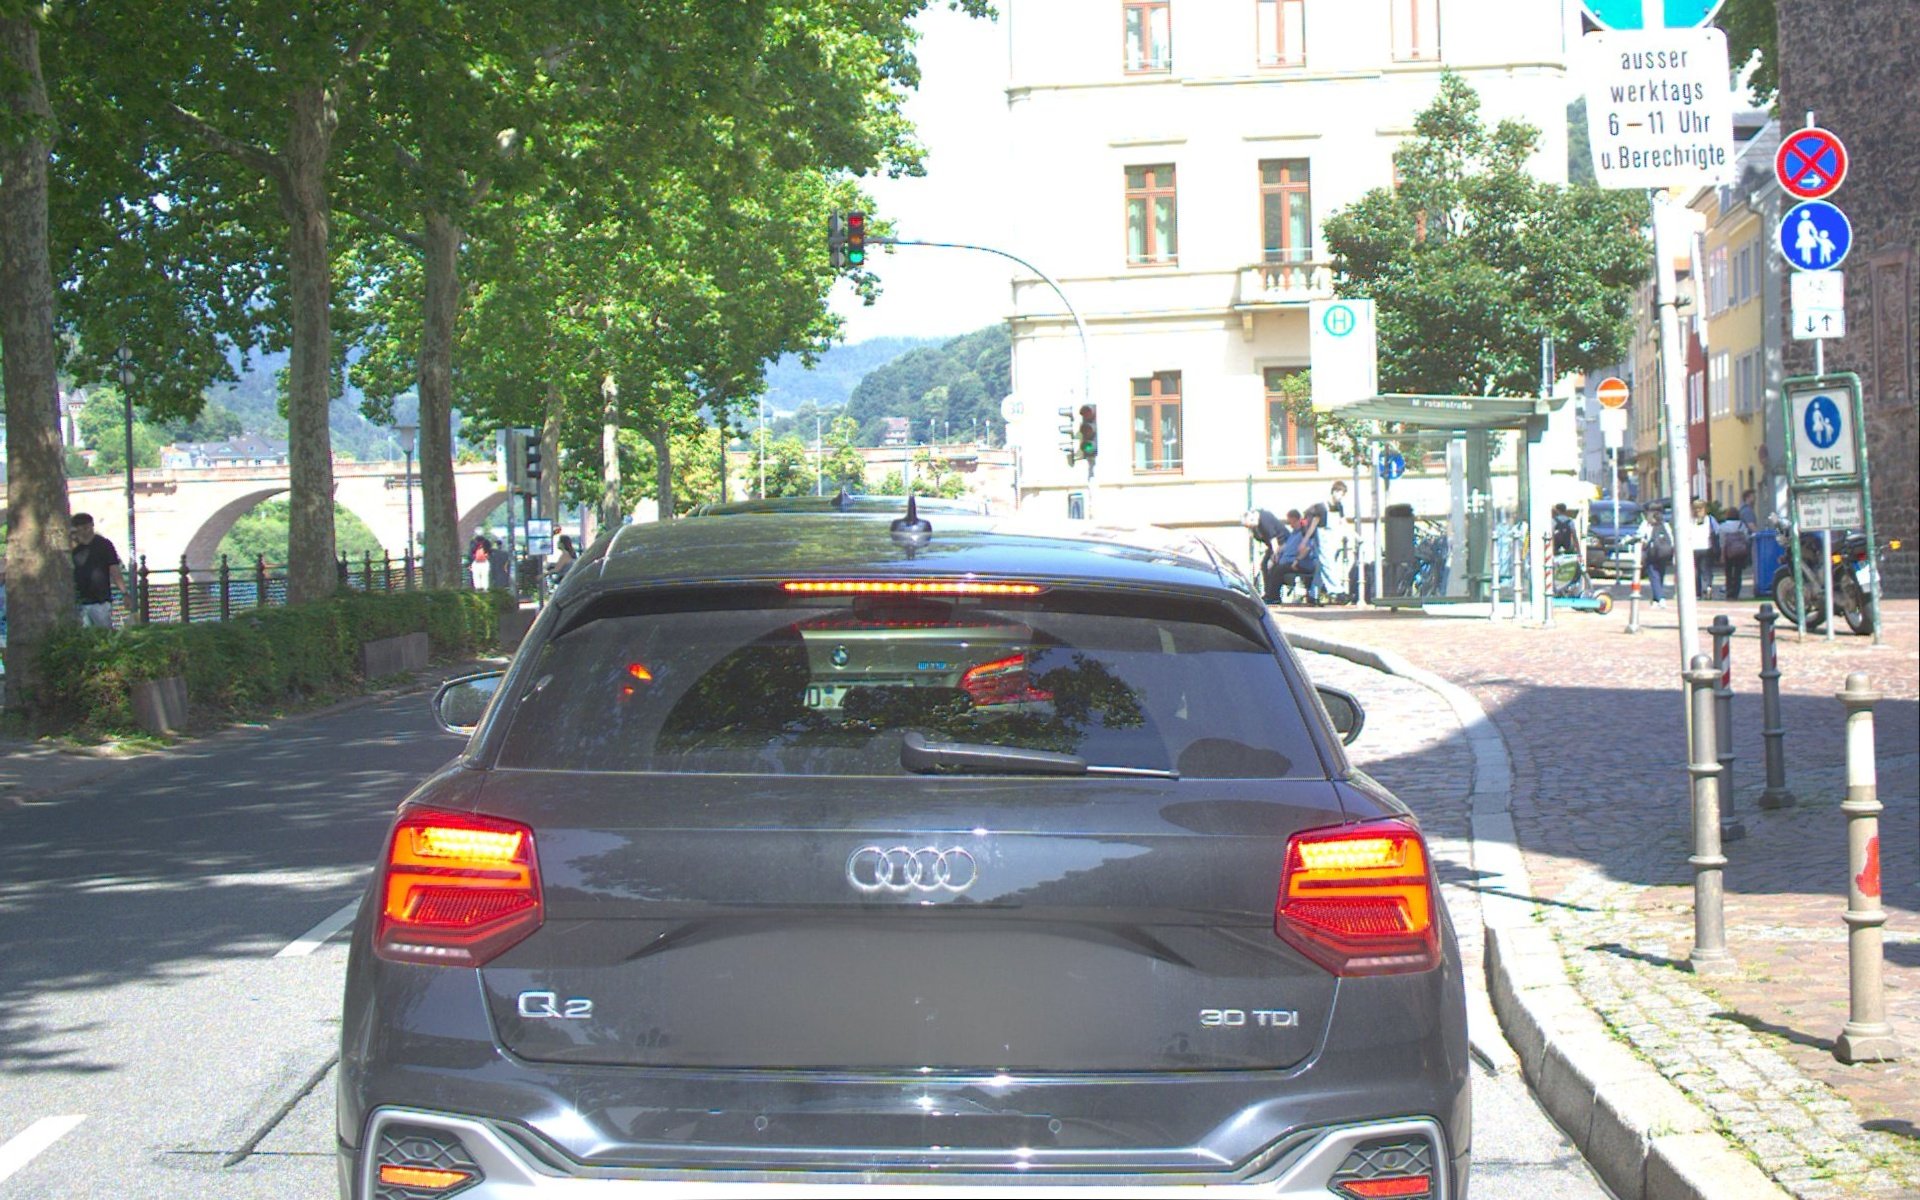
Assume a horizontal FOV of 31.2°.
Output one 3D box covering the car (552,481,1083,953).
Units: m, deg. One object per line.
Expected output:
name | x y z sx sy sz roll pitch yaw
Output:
car | -0.507 0.363 13.442 1.793 1.589 3.399 1 1 -1

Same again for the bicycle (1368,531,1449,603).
bicycle | 6.475 -0.474 49.584 1.184 1.012 0.179 1 0 -19

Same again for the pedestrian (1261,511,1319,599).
pedestrian | 4.619 -0.629 48.138 0.663 1.207 0.641 1 0 -6

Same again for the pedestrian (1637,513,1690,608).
pedestrian | 15.180 -0.852 74.164 0.944 2.007 0.807 1 0 0

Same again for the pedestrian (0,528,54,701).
pedestrian | -9.324 0.141 33.898 0.601 1.680 0.583 -1 1 -2

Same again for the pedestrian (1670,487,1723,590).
pedestrian | 11.821 -0.979 55.185 0.607 1.613 0.710 -3 0 -1

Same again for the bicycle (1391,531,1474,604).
bicycle | 6.732 -0.458 48.956 1.201 1.031 0.179 1 0 -19

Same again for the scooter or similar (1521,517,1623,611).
scooter or similar | 7.006 -0.414 39.373 1.088 1.062 0.323 1 0 -2

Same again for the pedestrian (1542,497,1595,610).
pedestrian | 7.543 -0.575 42.629 0.557 1.380 0.588 1 0 2

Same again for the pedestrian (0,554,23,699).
pedestrian | -9.159 0.244 32.470 0.479 1.358 0.417 1 1 4

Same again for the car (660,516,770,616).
car | -4.435 -0.648 62.772 1.673 1.654 4.223 -4 1 -1

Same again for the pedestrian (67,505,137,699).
pedestrian | -8.416 0.016 33.724 0.534 1.880 0.436 -1 1 -1

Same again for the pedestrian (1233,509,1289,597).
pedestrian | 4.276 -0.666 48.878 0.663 1.227 0.641 1 0 -6

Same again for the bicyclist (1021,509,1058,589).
bicyclist | 1.441 -0.925 62.386 0.605 1.445 0.591 1 0 -5

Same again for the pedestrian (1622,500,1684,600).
pedestrian | 10.317 -0.746 51.226 0.638 1.439 0.799 -3 1 -7

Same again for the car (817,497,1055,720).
car | -0.207 0.019 28.157 1.794 1.676 4.000 1 1 -1

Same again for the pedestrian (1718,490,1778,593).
pedestrian | 12.607 -0.934 55.024 0.691 1.607 0.891 -3 1 -1

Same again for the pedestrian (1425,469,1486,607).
pedestrian | 6.035 -0.759 41.860 0.654 1.656 0.809 -1 1 12

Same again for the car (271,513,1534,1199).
car | -0.105 0.601 6.609 1.743 1.504 3.647 1 1 -1

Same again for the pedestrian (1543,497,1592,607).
pedestrian | 13.134 -1.038 74.308 0.879 2.349 0.745 1 0 -1

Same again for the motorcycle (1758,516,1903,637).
motorcycle | 7.600 -0.227 30.118 0.566 1.009 2.490 -1 1 -2

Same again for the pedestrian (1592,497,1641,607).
pedestrian | 14.148 -1.024 74.124 0.879 2.350 0.745 1 0 -1

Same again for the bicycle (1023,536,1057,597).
bicycle | 1.450 -0.614 62.384 0.437 1.082 1.677 1 0 -5

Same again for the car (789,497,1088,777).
car | -0.143 0.172 21.570 1.710 1.603 3.655 0 1 -1

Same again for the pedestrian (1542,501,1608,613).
pedestrian | 11.136 -0.771 62.258 0.940 2.007 0.808 1 0 -9

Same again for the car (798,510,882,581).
car | -3.127 -1.425 90.561 1.993 1.800 4.000 1 1 1
